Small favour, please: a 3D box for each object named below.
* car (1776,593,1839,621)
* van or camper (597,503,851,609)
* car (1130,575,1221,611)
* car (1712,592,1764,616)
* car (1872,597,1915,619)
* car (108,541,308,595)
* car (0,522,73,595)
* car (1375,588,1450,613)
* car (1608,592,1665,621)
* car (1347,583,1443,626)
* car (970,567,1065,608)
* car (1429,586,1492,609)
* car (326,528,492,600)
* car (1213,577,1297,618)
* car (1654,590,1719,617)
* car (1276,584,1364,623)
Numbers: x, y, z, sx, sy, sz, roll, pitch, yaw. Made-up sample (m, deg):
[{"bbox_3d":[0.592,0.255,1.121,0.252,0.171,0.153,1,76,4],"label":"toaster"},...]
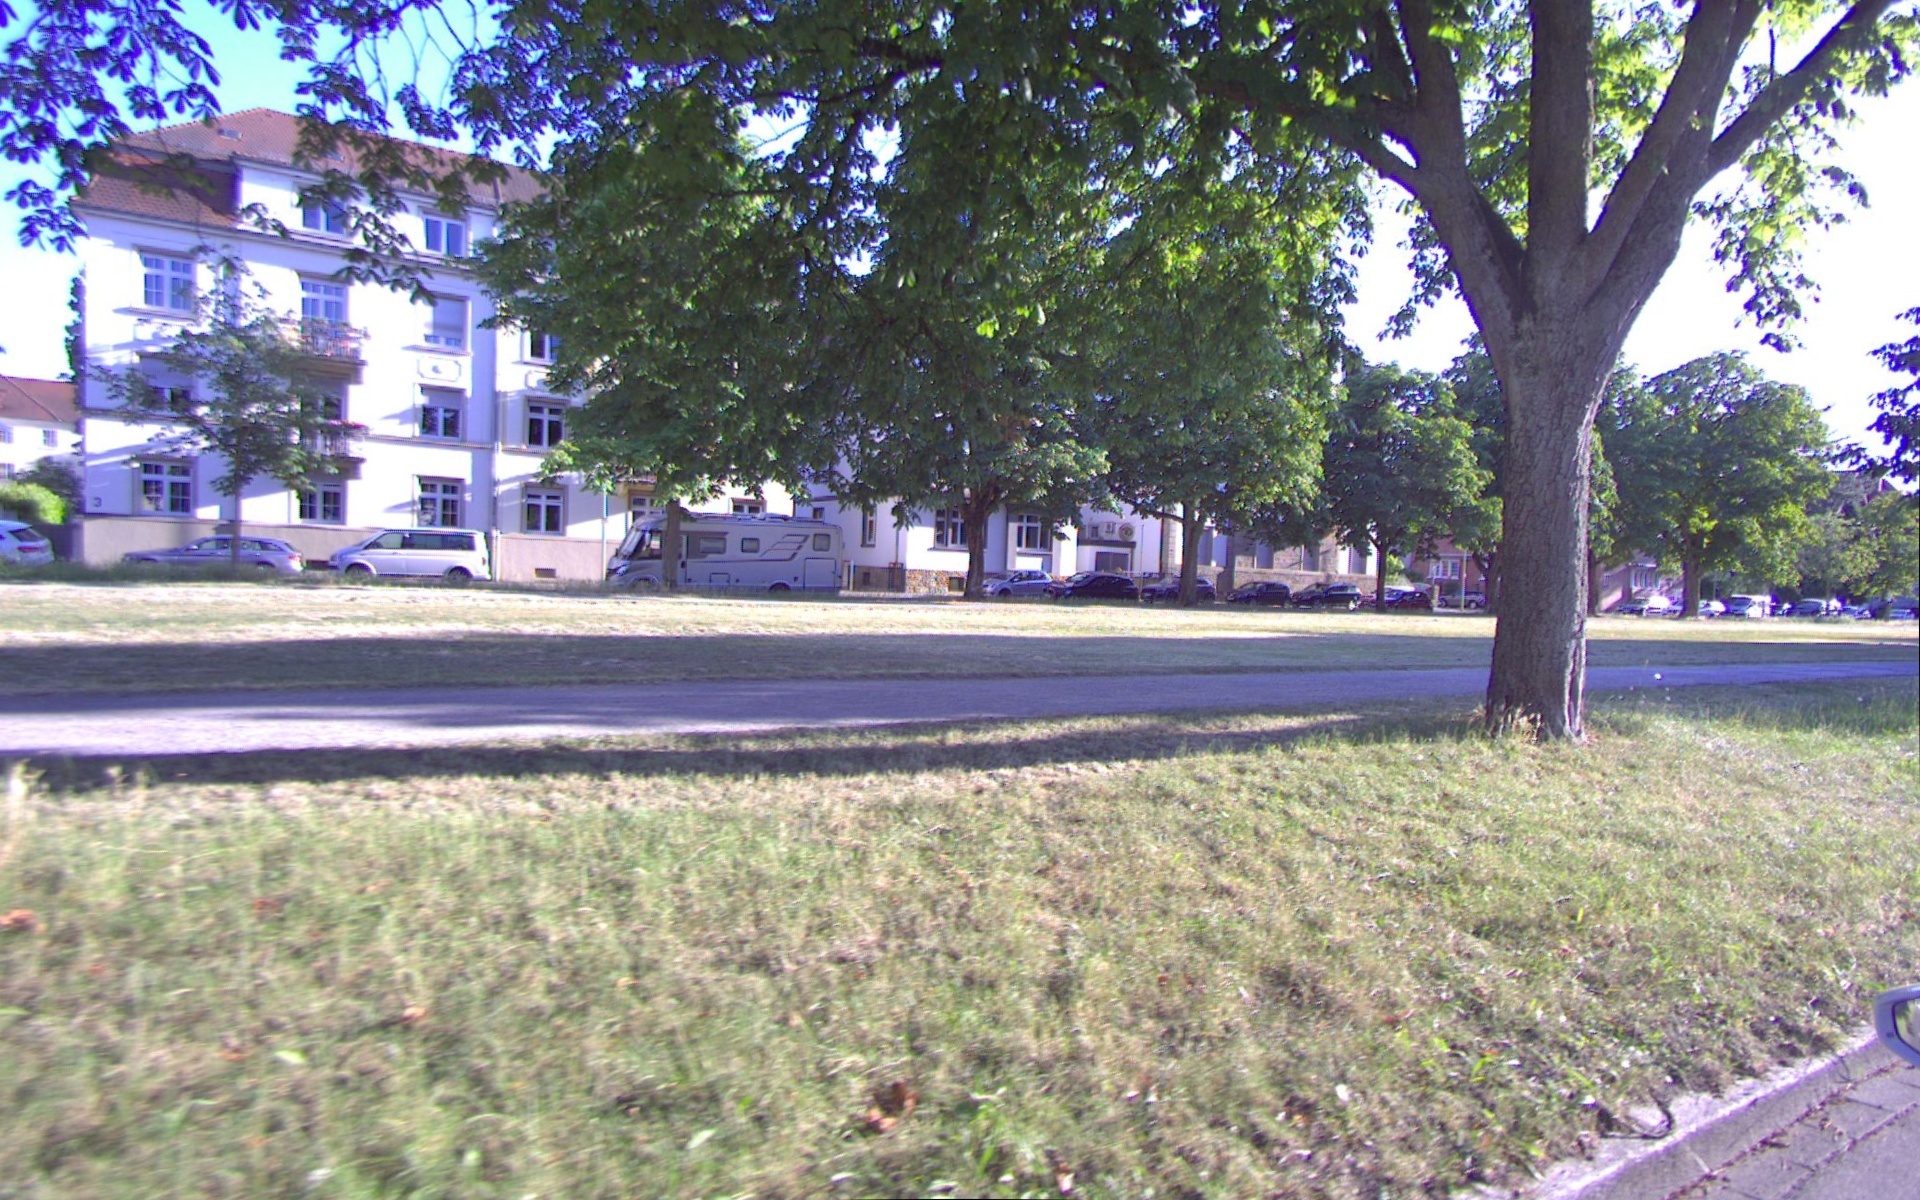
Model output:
[{"bbox_3d":[65.402,0.558,77.477,5.182,1.967,1.984,1,3,-30],"label":"car"},{"bbox_3d":[-7.976,-1.405,34.188,7.803,3.153,3.238,1,2,-30],"label":"van or camper"},{"bbox_3d":[11.148,-0.376,51.873,4.379,1.675,1.983,1,2,-32],"label":"car"},{"bbox_3d":[64.702,0.329,83.541,4.356,1.862,1.808,1,3,-30],"label":"car"},{"bbox_3d":[93.472,0.803,100.567,3.952,2.040,2.022,2,0,-30],"label":"car"},{"bbox_3d":[-23.307,-0.978,31.417,4.822,1.473,1.982,1,2,-33],"label":"car"},{"bbox_3d":[-24.638,-1.068,24.004,4.818,1.713,1.984,1,2,-30],"label":"car"},{"bbox_3d":[33.563,0.005,74.709,1.976,1.629,4.832,1,2,-29],"label":"car"},{"bbox_3d":[50.363,0.494,74.720,4.316,2.041,1.748,0,2,-30],"label":"car"},{"bbox_3d":[22.550,0.229,52.053,4.816,2.041,1.985,1,2,-29],"label":"car"},{"bbox_3d":[2.690,-0.564,46.911,3.951,1.758,1.985,1,2,-29],"label":"car"},{"bbox_3d":[38.517,-0.188,77.412,1.842,1.506,3.969,1,3,-29],"label":"car"},{"bbox_3d":[-18.718,-1.205,34.356,4.816,2.232,1.985,1,2,-29],"label":"car"},{"bbox_3d":[16.158,-0.130,54.984,4.379,2.041,1.983,1,2,-32],"label":"car"},{"bbox_3d":[48.725,0.242,67.352,4.596,1.661,1.810,1,2,-31],"label":"car"},{"bbox_3d":[20.656,0.199,57.574,4.816,2.041,1.985,1,2,-29],"label":"car"}]
